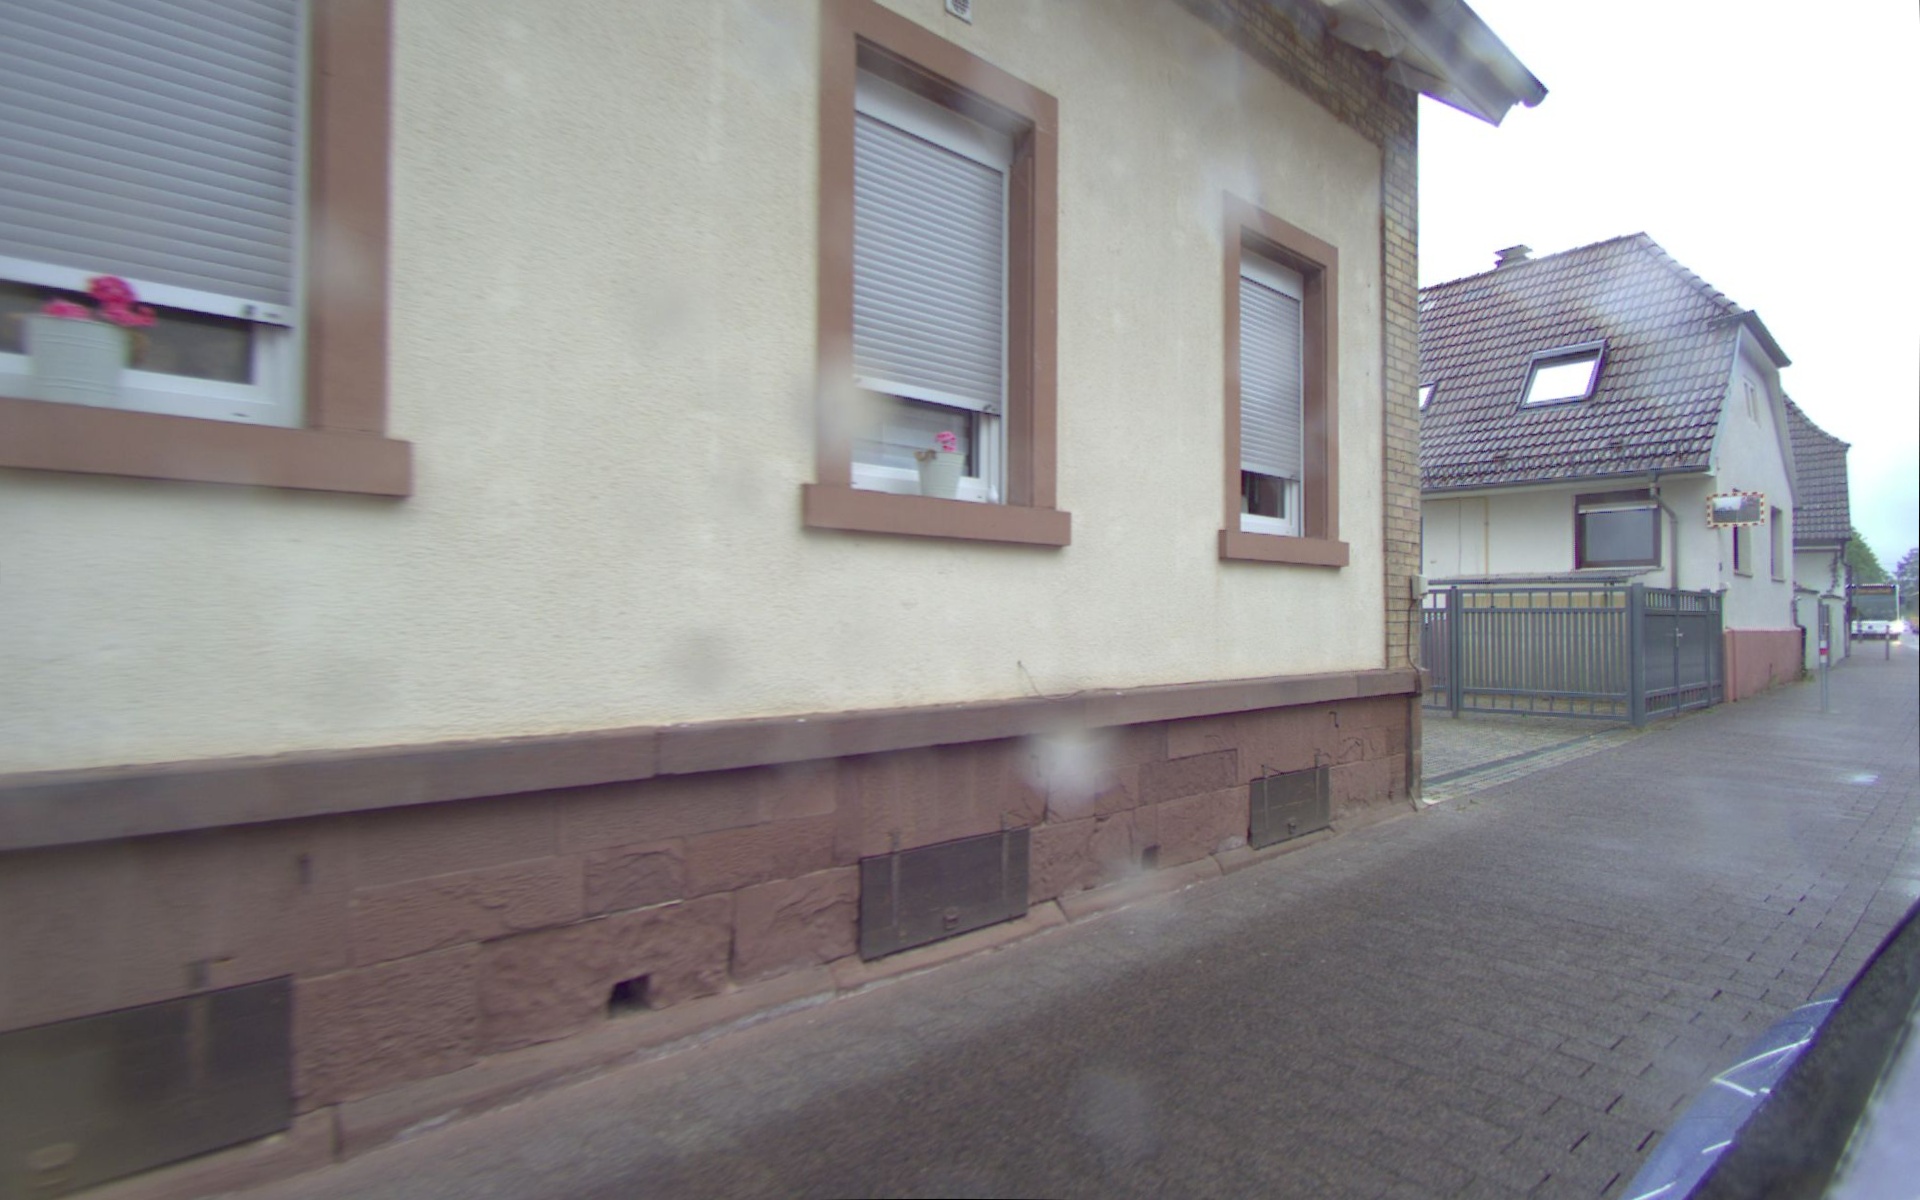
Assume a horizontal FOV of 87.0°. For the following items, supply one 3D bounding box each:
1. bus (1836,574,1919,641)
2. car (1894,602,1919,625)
[{"bbox_3d":[53.051,0.402,58.486,3.427,3.455,13.668,-1,-1,40],"label":"bus"},{"bbox_3d":[90.016,1.260,95.823,1.991,2.039,4.182,-2,-1,40],"label":"car"}]
